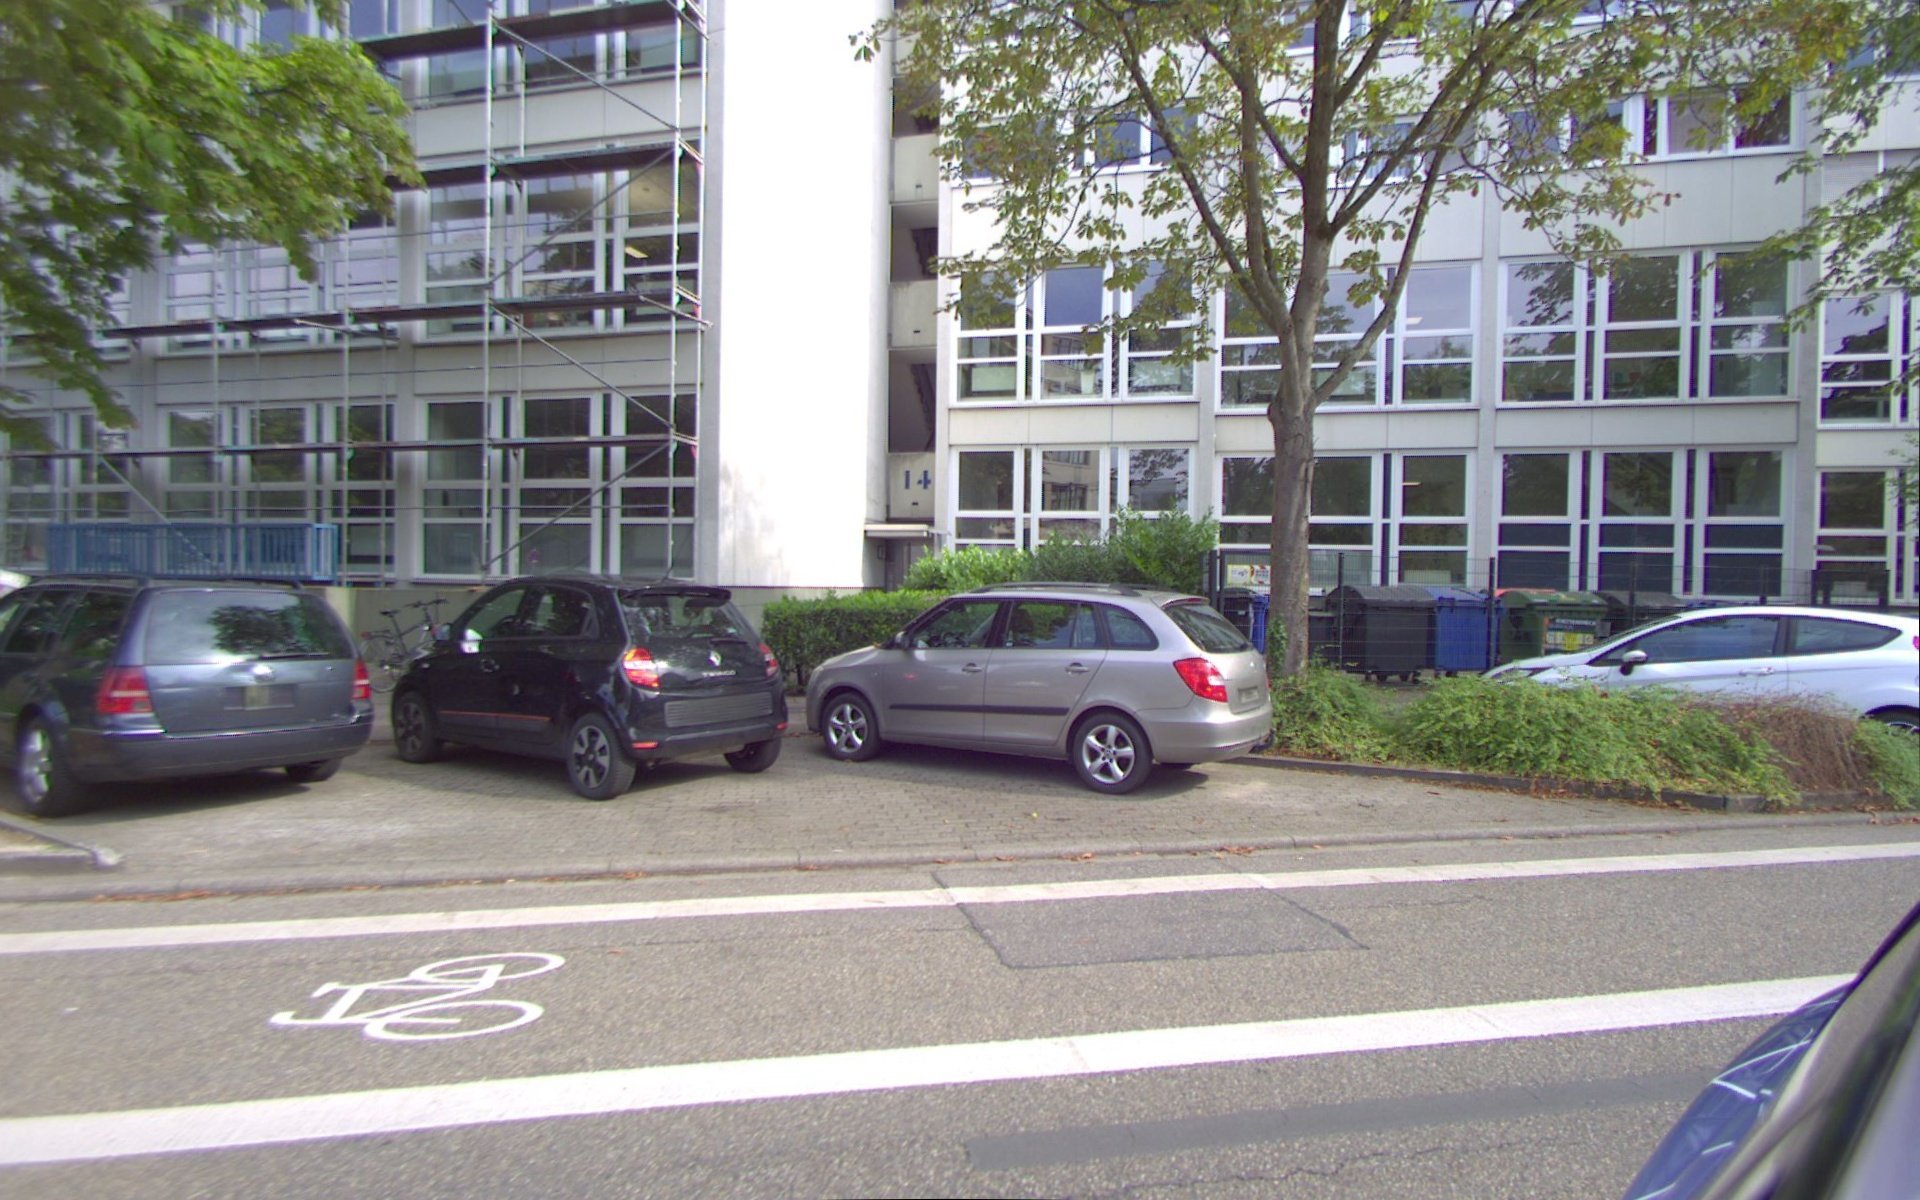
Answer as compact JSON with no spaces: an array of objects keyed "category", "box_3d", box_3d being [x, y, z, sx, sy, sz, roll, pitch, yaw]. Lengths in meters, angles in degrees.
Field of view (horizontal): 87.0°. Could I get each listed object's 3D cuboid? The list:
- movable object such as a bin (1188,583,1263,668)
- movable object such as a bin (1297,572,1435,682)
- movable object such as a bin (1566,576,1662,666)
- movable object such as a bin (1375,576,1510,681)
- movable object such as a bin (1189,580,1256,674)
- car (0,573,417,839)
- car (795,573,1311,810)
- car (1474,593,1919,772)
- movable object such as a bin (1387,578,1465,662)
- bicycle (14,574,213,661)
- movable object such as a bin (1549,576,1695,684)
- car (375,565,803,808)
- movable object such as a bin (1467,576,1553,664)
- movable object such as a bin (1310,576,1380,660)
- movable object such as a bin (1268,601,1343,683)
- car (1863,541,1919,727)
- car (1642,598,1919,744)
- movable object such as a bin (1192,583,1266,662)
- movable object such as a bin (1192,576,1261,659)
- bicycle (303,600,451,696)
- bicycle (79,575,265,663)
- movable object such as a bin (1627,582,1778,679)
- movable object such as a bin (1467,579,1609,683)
[{"category":"movable object such as a bin","box_3d":[4.542,0.412,17.397,1.100,1.409,1.061,1,1,8]},{"category":"movable object such as a bin","box_3d":[5.995,0.374,15.036,1.386,1.548,1.333,1,1,-9]},{"category":"movable object such as a bin","box_3d":[12.021,0.366,18.657,1.158,1.588,1.174,1,1,15]},{"category":"movable object such as a bin","box_3d":[7.341,0.408,15.485,1.310,1.523,1.338,1,1,-9]},{"category":"movable object such as a bin","box_3d":[4.166,0.402,16.124,0.897,1.424,1.022,1,1,8]},{"category":"car","box_3d":[-6.002,0.526,7.297,4.134,1.433,1.797,1,1,30]},{"category":"car","box_3d":[0.673,0.566,8.422,4.021,1.557,1.578,1,1,32]},{"category":"car","box_3d":[7.176,0.679,9.795,3.831,1.410,1.616,1,1,31]},{"category":"movable object such as a bin","box_3d":[8.941,0.358,19.471,1.158,1.533,1.174,1,1,15]},{"category":"bicycle","box_3d":[-11.055,0.197,13.311,0.588,1.056,1.962,1,1,24]},{"category":"movable object such as a bin","box_3d":[10.339,0.439,15.868,1.326,1.616,1.338,1,1,-9]},{"category":"car","box_3d":[-3.058,0.520,8.160,3.394,1.557,1.576,1,1,34]},{"category":"movable object such as a bin","box_3d":[10.390,0.353,19.163,1.158,1.588,1.174,1,1,15]},{"category":"movable object such as a bin","box_3d":[7.593,0.330,20.009,1.158,1.588,1.174,1,1,15]},{"category":"movable object such as a bin","box_3d":[4.928,0.584,14.489,0.728,1.119,0.787,1,1,-7]},{"category":"car","box_3d":[13.064,0.419,11.141,4.312,2.090,1.978,1,1,32]},{"category":"car","box_3d":[9.745,0.725,10.843,3.942,1.405,1.794,1,-1,32]},{"category":"movable object such as a bin","box_3d":[4.943,0.394,18.675,1.160,1.387,1.172,1,1,8]},{"category":"movable object such as a bin","box_3d":[5.236,0.321,20.006,1.160,1.588,1.172,1,1,8]},{"category":"bicycle","box_3d":[-7.291,0.556,12.764,0.447,1.056,1.832,1,2,16]},{"category":"bicycle","box_3d":[-10.175,0.212,13.169,0.586,1.056,1.969,1,1,14]},{"category":"movable object such as a bin","box_3d":[11.826,0.463,16.173,1.371,1.477,1.338,1,1,-9]},{"category":"movable object such as a bin","box_3d":[8.905,0.452,15.656,1.326,1.521,1.338,1,1,-9]}]
